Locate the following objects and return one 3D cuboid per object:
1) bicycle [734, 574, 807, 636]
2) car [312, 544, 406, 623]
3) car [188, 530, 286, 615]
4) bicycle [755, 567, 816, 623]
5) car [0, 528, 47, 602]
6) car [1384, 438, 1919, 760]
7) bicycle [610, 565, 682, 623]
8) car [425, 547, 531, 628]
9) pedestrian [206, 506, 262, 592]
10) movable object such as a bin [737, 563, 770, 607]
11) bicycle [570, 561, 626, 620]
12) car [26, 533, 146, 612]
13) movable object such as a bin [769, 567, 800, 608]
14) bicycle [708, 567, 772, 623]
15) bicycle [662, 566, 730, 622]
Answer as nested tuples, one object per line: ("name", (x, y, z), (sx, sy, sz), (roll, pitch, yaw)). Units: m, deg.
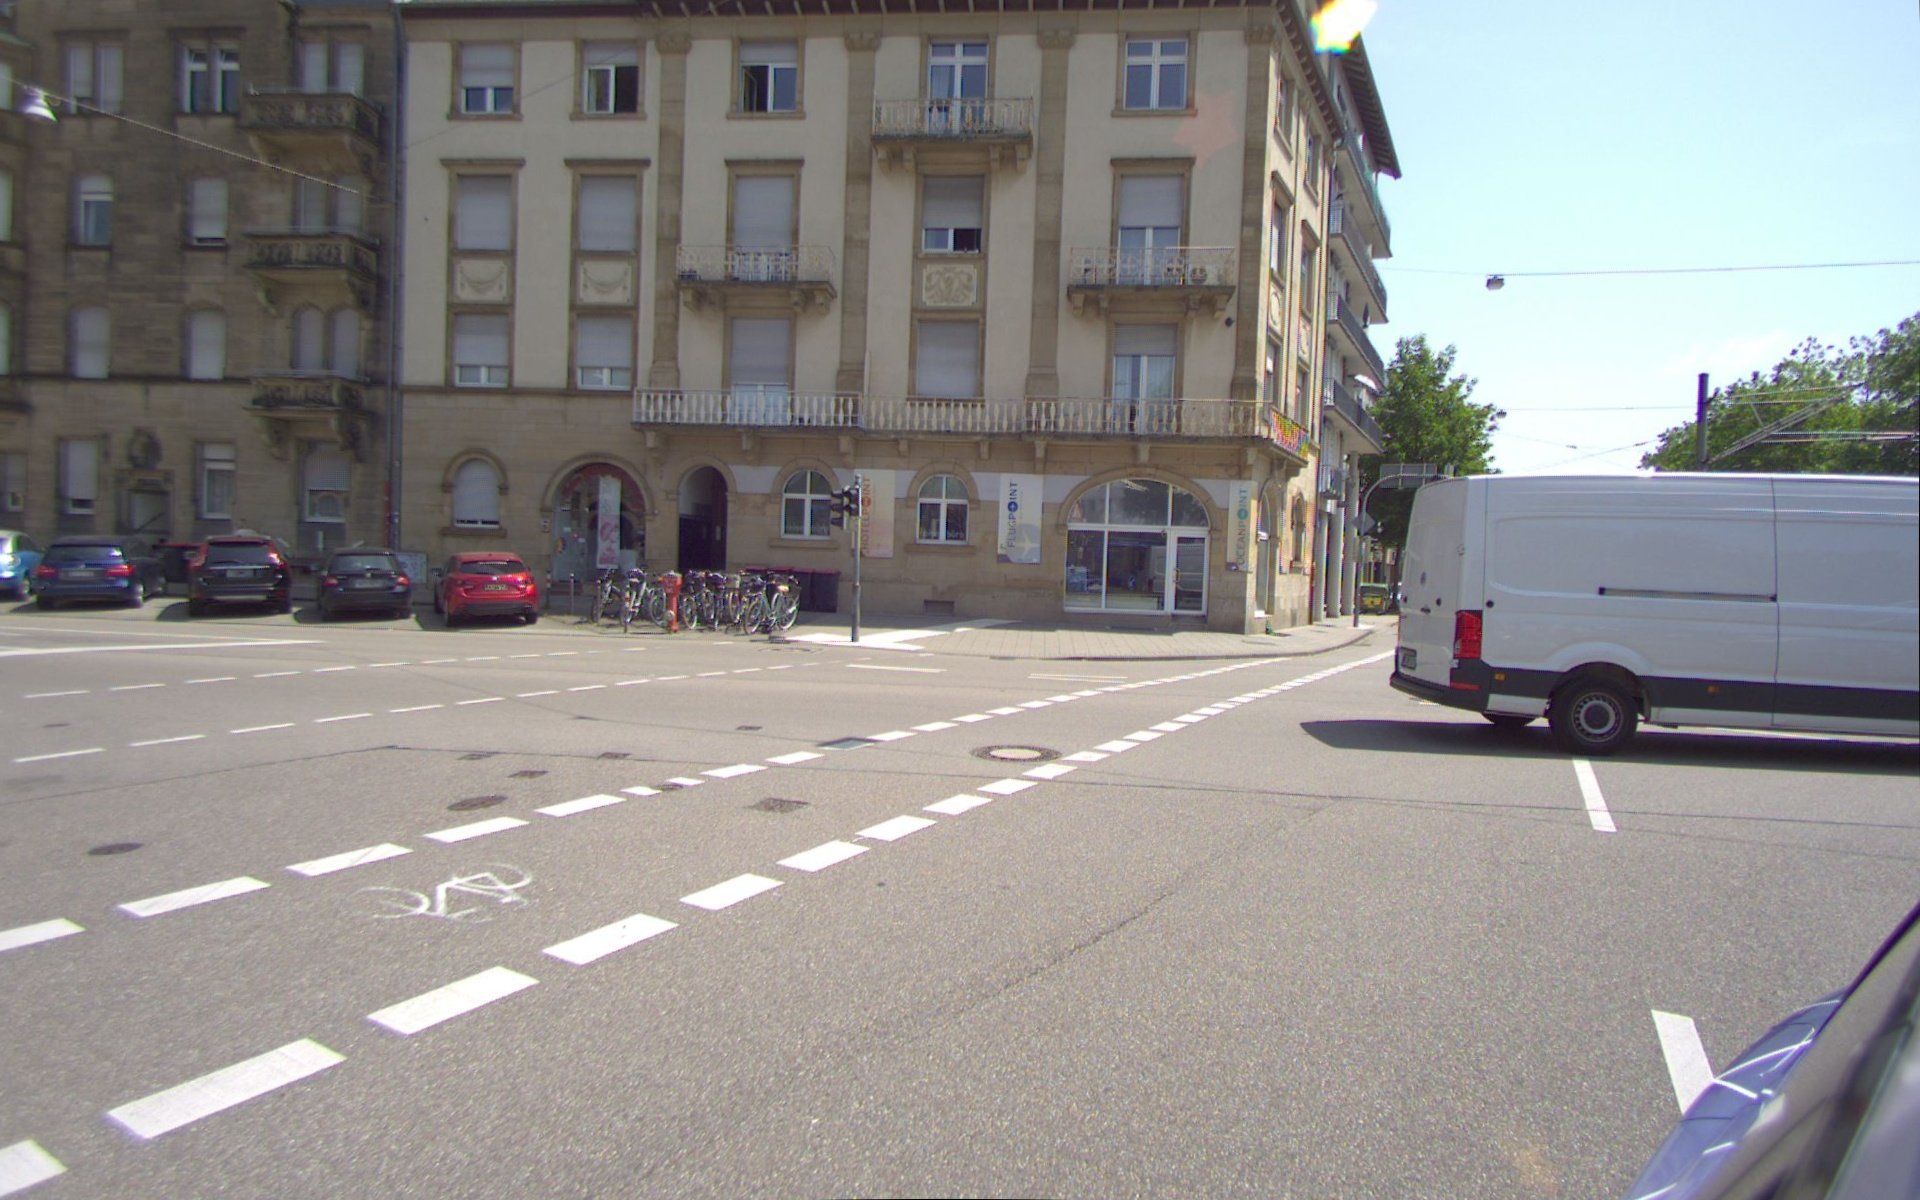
("bicycle", (-3.924, 0.072, 21.111), (0.558, 1.165, 2.048), (2, 3, 19))
("car", (-13.130, -0.425, 22.043), (1.586, 1.496, 3.230), (-2, 5, -33))
("car", (-15.841, -0.671, 22.287), (1.586, 1.685, 3.230), (-2, 5, -33))
("bicycle", (-3.904, -0.128, 22.802), (0.558, 1.165, 1.795), (2, 3, 19))
("car", (-22.556, -0.845, 23.432), (1.586, 1.593, 3.230), (-2, 5, -33))
("car", (7.809, -0.030, 9.636), (6.522, 2.669, 2.073), (2, 2, 8))
("bicycle", (-6.843, -0.161, 22.148), (0.558, 1.165, 1.795), (2, 3, 19))
("car", (-10.318, -0.331, 21.557), (1.586, 1.496, 3.230), (-2, 5, -33))
("pedestrian", (-18.622, -1.312, 25.958), (1.095, 2.140, 0.855), (3, 2, 37))
("movable object such as a bin", (-5.228, -0.394, 25.605), (0.581, 1.077, 0.668), (2, 2, 14))
("bicycle", (-7.776, -0.235, 21.795), (0.554, 1.165, 1.806), (1, 3, 0))
("car", (-19.552, -0.691, 22.774), (1.586, 1.593, 3.230), (-2, 5, -33))
("movable object such as a bin", (-4.424, -0.312, 25.557), (0.581, 1.007, 0.580), (2, 2, 14))
("bicycle", (-4.927, -0.141, 22.746), (0.558, 1.165, 1.795), (2, 3, 19))
("bicycle", (-5.865, -0.155, 22.576), (0.558, 1.165, 1.795), (2, 3, 19))
